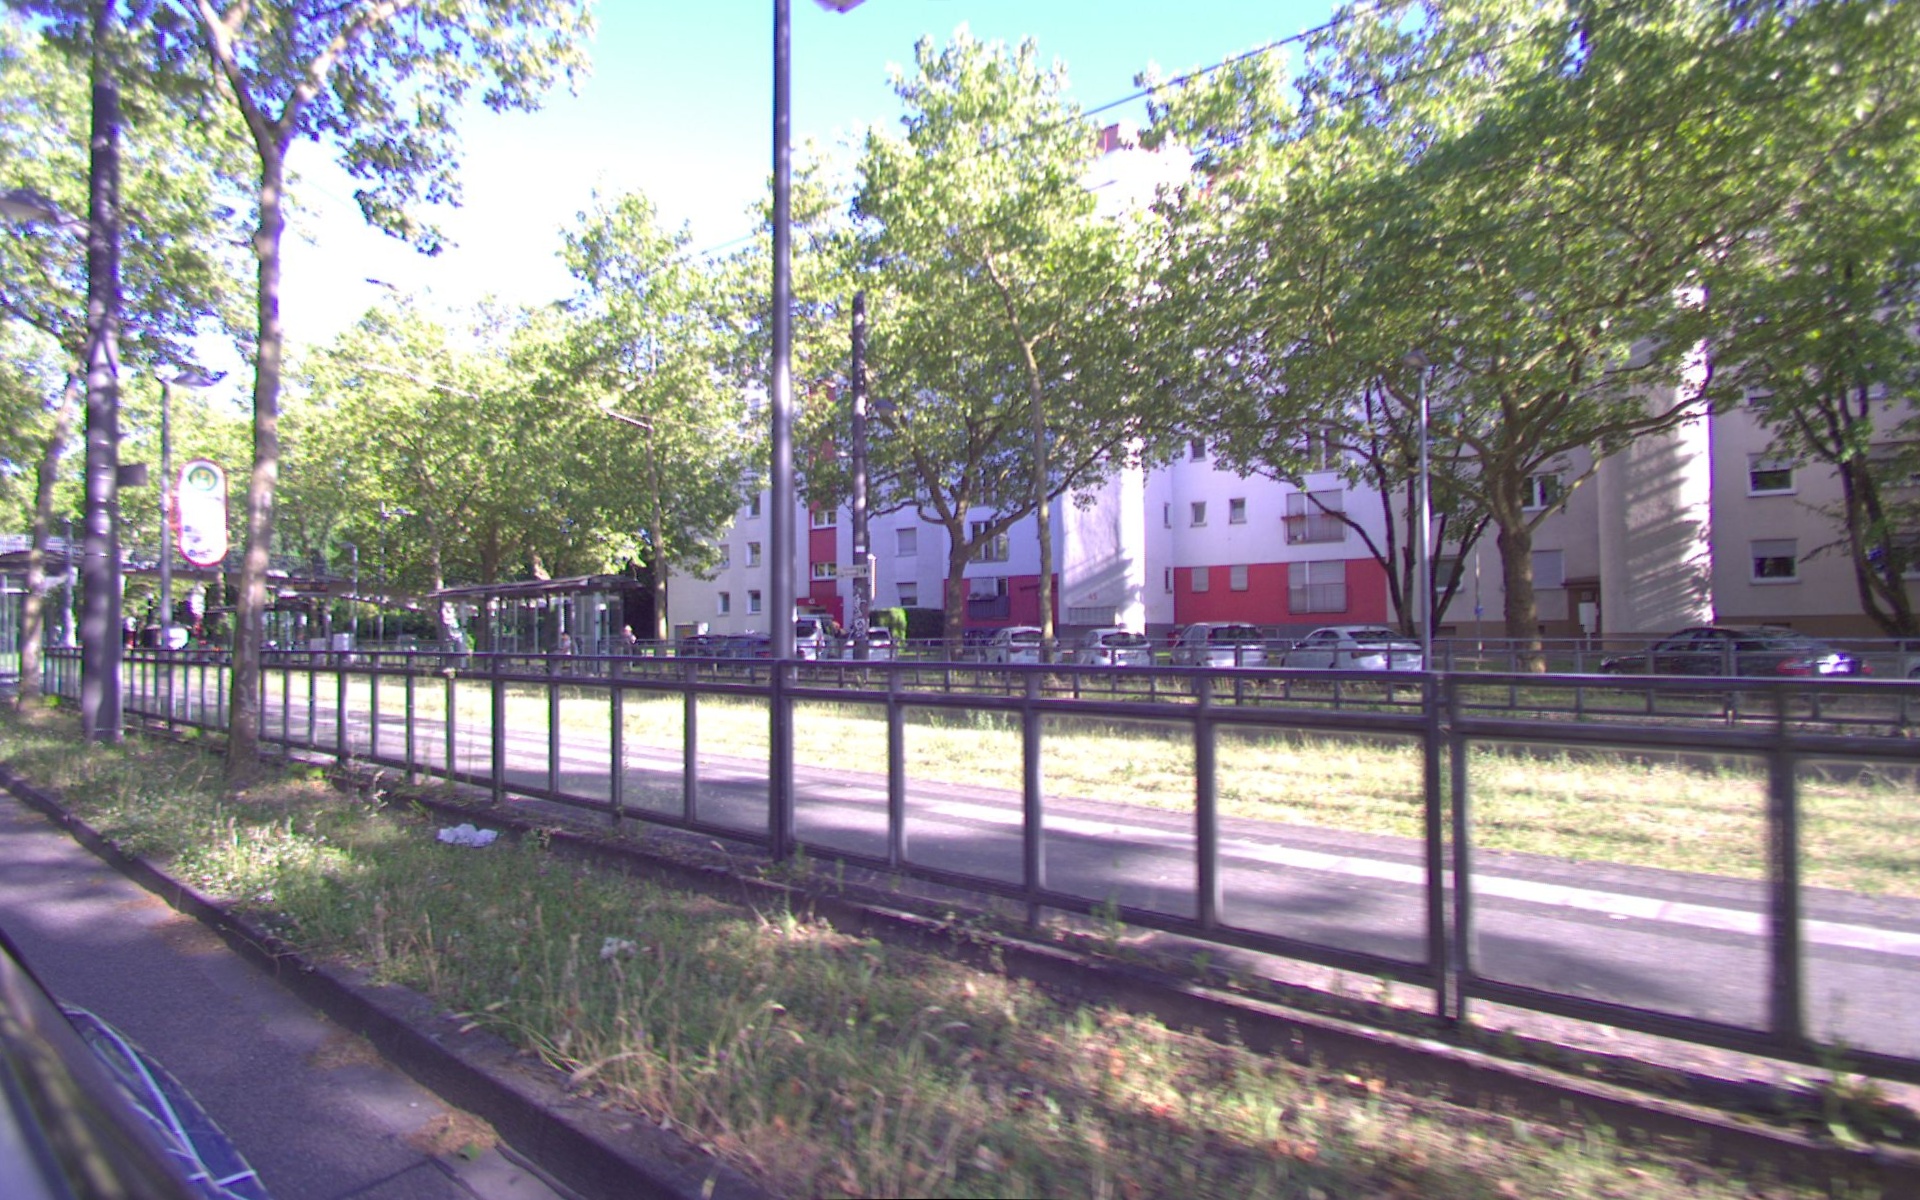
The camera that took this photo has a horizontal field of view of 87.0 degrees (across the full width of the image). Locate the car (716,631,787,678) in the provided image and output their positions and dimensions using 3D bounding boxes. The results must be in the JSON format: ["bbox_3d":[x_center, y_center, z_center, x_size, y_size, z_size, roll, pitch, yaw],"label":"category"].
[{"bbox_3d":[-7.775,2.002,38.114,1.872,1.509,4.502,-2,-1,-2],"label":"car"}]

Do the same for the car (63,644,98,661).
[{"bbox_3d":[-88.879,5.275,102.262,4.622,1.499,1.879,-2,1,39],"label":"car"}]

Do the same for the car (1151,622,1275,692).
[{"bbox_3d":[6.356,1.402,25.908,1.551,1.580,4.067,-2,-1,-9],"label":"car"}]

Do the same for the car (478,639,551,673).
[{"bbox_3d":[-22.047,2.770,50.285,1.677,1.439,4.198,-3,-1,1],"label":"car"}]

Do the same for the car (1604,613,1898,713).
[{"bbox_3d":[14.193,1.081,18.520,1.620,1.556,4.183,-2,-1,-9],"label":"car"}]

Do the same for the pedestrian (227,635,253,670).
[{"bbox_3d":[-31.904,2.335,44.836,0.681,1.525,0.638,-1,-3,27],"label":"pedestrian"}]

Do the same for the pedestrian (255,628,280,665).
[{"bbox_3d":[-30.860,2.066,45.101,0.714,1.647,0.722,-2,-3,38],"label":"pedestrian"}]

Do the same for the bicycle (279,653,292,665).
[{"bbox_3d":[-43.932,3.853,65.916,1.173,0.784,0.429,-3,-1,40],"label":"bicycle"}]

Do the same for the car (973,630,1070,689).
[{"bbox_3d":[1.715,1.689,29.868,1.870,1.515,4.508,-2,-1,-9],"label":"car"}]

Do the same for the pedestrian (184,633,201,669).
[{"bbox_3d":[-38.560,2.559,50.864,0.477,1.784,0.504,-1,-1,-1],"label":"pedestrian"}]

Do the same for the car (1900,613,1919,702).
[{"bbox_3d":[17.560,0.937,15.940,1.623,1.556,3.994,-2,-1,-2],"label":"car"}]

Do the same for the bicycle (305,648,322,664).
[{"bbox_3d":[-42.568,3.708,66.624,1.685,1.016,0.429,-3,-1,40],"label":"bicycle"}]

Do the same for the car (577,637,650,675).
[{"bbox_3d":[-15.124,2.422,44.388,1.677,1.439,4.198,-3,-1,1],"label":"car"}]

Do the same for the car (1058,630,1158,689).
[{"bbox_3d":[4.018,1.585,28.080,1.551,1.443,4.067,-2,-1,-9],"label":"car"}]

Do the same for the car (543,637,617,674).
[{"bbox_3d":[-17.272,2.485,46.164,1.677,1.439,4.198,-3,-1,1],"label":"car"}]

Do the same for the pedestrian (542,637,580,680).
[{"bbox_3d":[-10.903,1.600,27.679,0.661,1.136,0.687,-2,-5,41],"label":"pedestrian"}]

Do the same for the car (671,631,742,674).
[{"bbox_3d":[-10.156,2.080,40.859,1.872,1.509,4.502,-2,-1,-2],"label":"car"}]

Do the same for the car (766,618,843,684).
[{"bbox_3d":[-5.411,1.718,35.677,1.874,2.079,4.498,-3,-1,1],"label":"car"}]

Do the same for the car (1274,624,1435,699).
[{"bbox_3d":[8.862,1.338,23.129,1.551,1.485,4.067,-2,-1,-9],"label":"car"}]

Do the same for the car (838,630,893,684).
[{"bbox_3d":[-3.127,1.866,33.984,1.664,1.623,4.063,-2,-1,-4],"label":"car"}]
